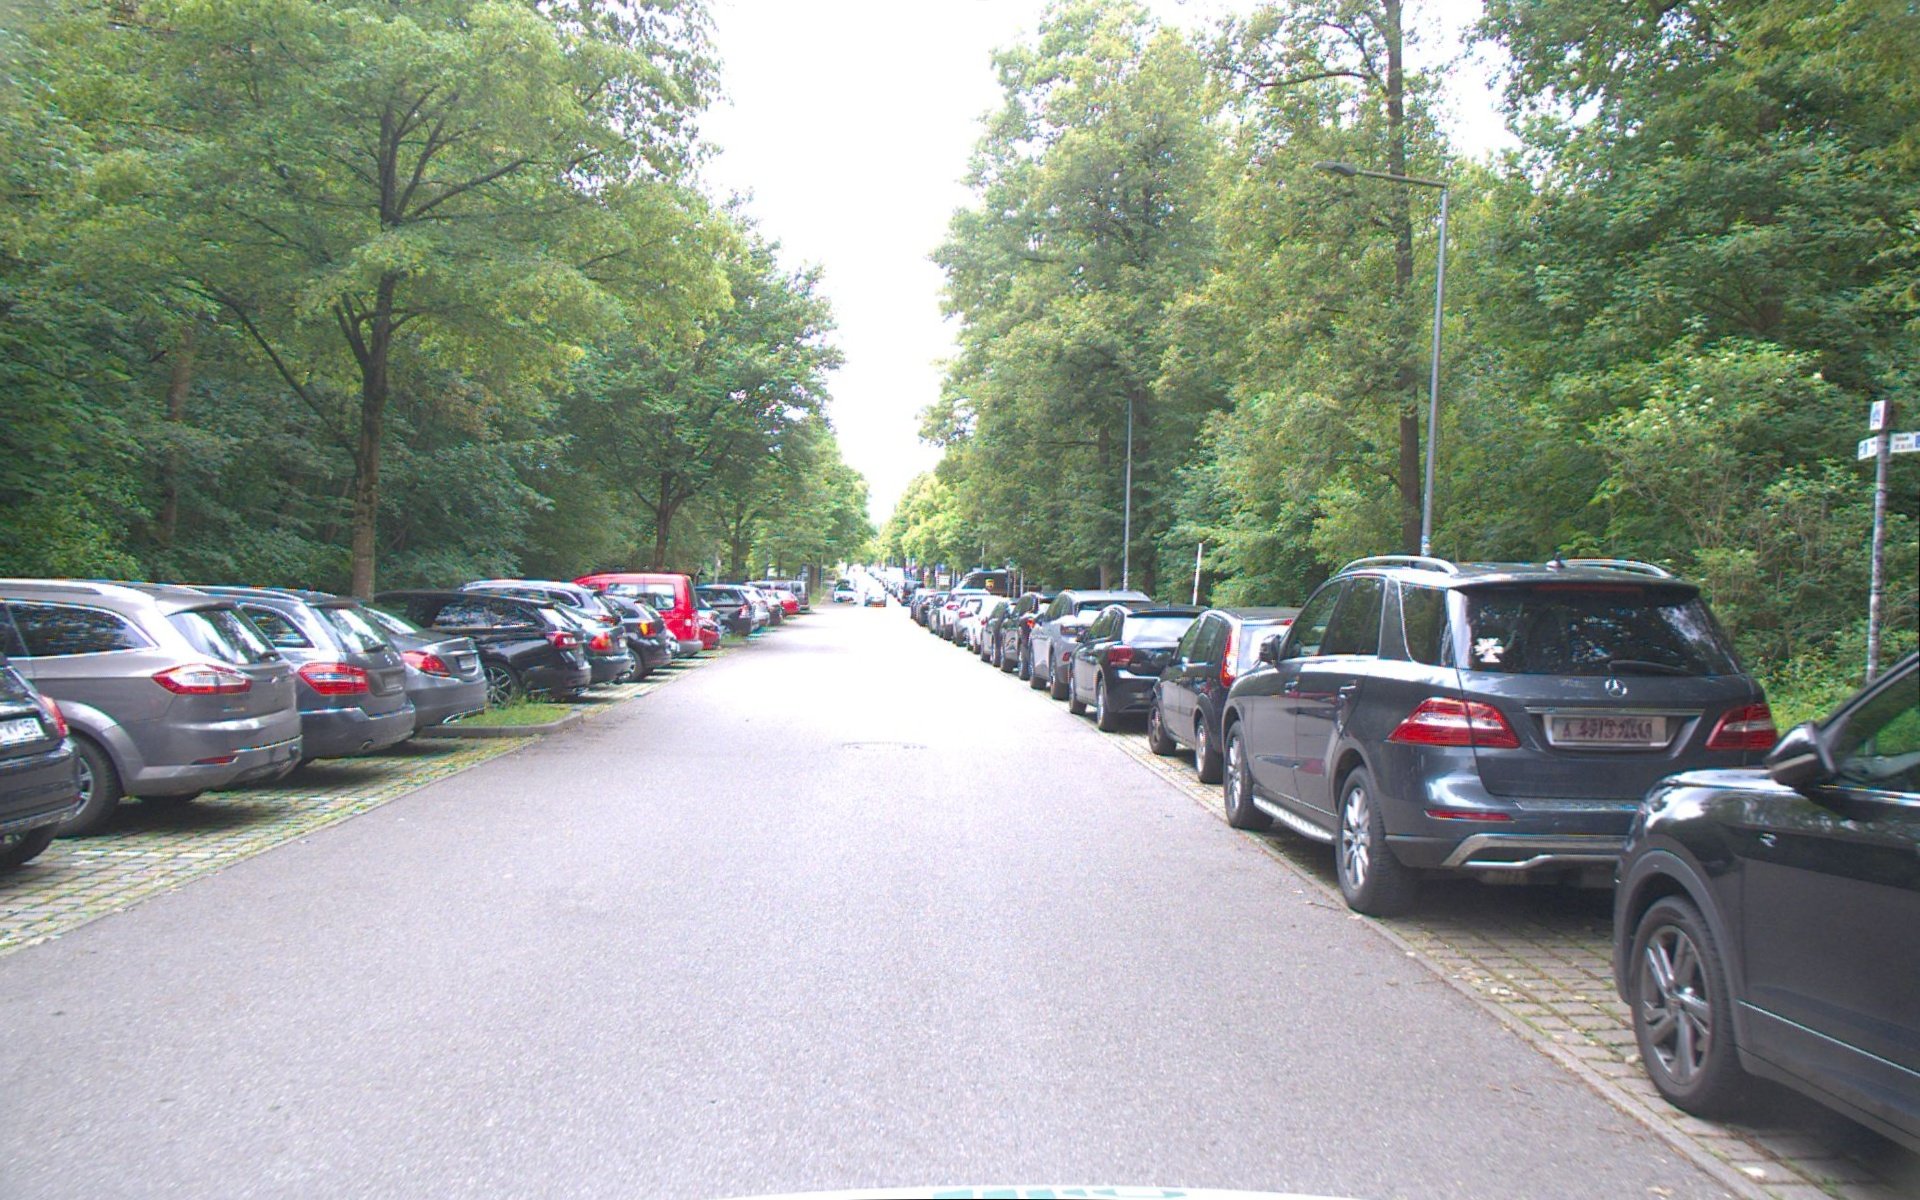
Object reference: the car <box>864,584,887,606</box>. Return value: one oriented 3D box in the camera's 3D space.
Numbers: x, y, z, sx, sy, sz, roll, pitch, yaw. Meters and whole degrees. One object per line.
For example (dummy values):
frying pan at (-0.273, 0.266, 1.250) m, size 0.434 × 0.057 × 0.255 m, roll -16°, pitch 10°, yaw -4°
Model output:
car at (-6.302, -0.361, 123.598) m, size 1.657 × 1.440 × 3.152 m, roll 2°, pitch 3°, yaw -4°

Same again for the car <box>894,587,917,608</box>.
car at (-4.285, -0.198, 129.708) m, size 1.596 × 1.440 × 3.409 m, roll 2°, pitch 3°, yaw -4°

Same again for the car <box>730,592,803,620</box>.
car at (-9.979, 0.301, 85.281) m, size 3.518 × 1.385 × 1.821 m, roll 1°, pitch 0°, yaw -15°

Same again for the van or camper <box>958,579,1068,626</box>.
van or camper at (3.690, 0.179, 115.310) m, size 7.208 × 2.938 × 2.638 m, roll 1°, pitch 3°, yaw -18°

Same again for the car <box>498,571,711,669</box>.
car at (-7.035, 0.386, 33.107) m, size 3.910 × 1.848 × 2.112 m, roll 1°, pitch 0°, yaw -6°

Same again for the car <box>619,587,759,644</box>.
car at (-7.789, 0.450, 47.866) m, size 3.755 × 1.563 × 1.870 m, roll 1°, pitch 0°, yaw -2°

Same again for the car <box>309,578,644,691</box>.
car at (-7.375, 0.511, 25.634) m, size 4.638 × 1.623 × 1.958 m, roll 1°, pitch 0°, yaw -4°

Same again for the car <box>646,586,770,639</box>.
car at (-8.374, 0.414, 55.174) m, size 3.907 × 1.669 × 1.734 m, roll 1°, pitch 0°, yaw -2°

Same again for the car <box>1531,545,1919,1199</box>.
car at (3.106, 0.705, 4.026) m, size 1.716 × 1.635 × 4.444 m, roll 1°, pitch 0°, yaw -3°

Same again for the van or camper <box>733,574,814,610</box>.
van or camper at (-10.883, -0.493, 96.491) m, size 4.404 × 1.900 × 1.911 m, roll 1°, pitch 3°, yaw -18°

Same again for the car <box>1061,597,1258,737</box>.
car at (2.338, 0.745, 20.351) m, size 1.604 × 1.503 × 4.147 m, roll 1°, pitch 0°, yaw -4°

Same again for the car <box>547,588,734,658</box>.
car at (-7.257, 0.510, 37.948) m, size 3.907 × 1.500 × 2.114 m, roll 1°, pitch 0°, yaw -3°

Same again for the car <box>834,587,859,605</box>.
car at (-8.729, -0.318, 127.002) m, size 1.704 × 1.182 × 3.411 m, roll 2°, pitch 3°, yaw -1°

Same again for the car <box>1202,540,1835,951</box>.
car at (2.829, 0.626, 9.745) m, size 1.852 × 1.777 × 4.946 m, roll 1°, pitch 0°, yaw -3°

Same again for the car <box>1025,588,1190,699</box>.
car at (2.223, 0.611, 26.202) m, size 1.939 × 1.564 × 4.618 m, roll 1°, pitch 0°, yaw -3°

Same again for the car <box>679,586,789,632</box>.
car at (-8.532, 0.329, 62.593) m, size 3.907 × 1.669 × 2.008 m, roll 1°, pitch 0°, yaw -2°

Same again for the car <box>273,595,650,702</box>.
car at (-6.788, 0.646, 22.957) m, size 4.638 × 1.367 × 1.986 m, roll 1°, pitch 0°, yaw -4°

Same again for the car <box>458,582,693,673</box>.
car at (-7.020, 0.491, 30.559) m, size 3.908 × 1.557 × 1.999 m, roll 1°, pitch 0°, yaw -4°

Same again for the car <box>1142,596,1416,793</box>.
car at (2.787, 0.760, 15.327) m, size 1.567 × 1.530 × 4.088 m, roll 1°, pitch 0°, yaw -3°

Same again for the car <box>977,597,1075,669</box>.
car at (1.420, 0.691, 36.873) m, size 1.634 × 1.470 × 3.809 m, roll 1°, pitch 0°, yaw -6°

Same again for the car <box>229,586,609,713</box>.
car at (-6.612, 0.597, 20.613) m, size 4.214 × 1.474 × 1.754 m, roll 1°, pitch 0°, yaw -8°

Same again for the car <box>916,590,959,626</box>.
car at (-1.048, 0.341, 74.882) m, size 1.882 × 1.547 × 3.885 m, roll 1°, pitch 0°, yaw -2°

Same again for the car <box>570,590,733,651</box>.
car at (-7.964, 0.511, 43.013) m, size 3.907 × 1.500 × 1.846 m, roll 1°, pitch 0°, yaw -2°

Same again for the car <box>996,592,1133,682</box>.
car at (1.929, 0.667, 31.829) m, size 1.940 × 1.564 × 4.161 m, roll 1°, pitch 0°, yaw -6°

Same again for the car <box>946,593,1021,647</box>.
car at (0.682, 0.578, 49.804) m, size 1.689 × 1.520 × 3.767 m, roll 1°, pitch 0°, yaw -8°

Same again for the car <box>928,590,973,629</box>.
car at (-0.428, 0.371, 67.688) m, size 1.676 × 1.535 × 3.998 m, roll 1°, pitch 0°, yaw -3°

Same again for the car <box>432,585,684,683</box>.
car at (-6.743, 0.565, 28.126) m, size 3.911 × 1.557 × 1.997 m, roll 1°, pitch 0°, yaw -7°

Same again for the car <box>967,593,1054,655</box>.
car at (1.284, 0.600, 43.833) m, size 1.899 × 1.501 × 3.989 m, roll 1°, pitch 0°, yaw -4°

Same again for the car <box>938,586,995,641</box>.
car at (0.196, 0.423, 55.309) m, size 1.676 × 1.758 × 3.998 m, roll 1°, pitch 0°, yaw -3°
